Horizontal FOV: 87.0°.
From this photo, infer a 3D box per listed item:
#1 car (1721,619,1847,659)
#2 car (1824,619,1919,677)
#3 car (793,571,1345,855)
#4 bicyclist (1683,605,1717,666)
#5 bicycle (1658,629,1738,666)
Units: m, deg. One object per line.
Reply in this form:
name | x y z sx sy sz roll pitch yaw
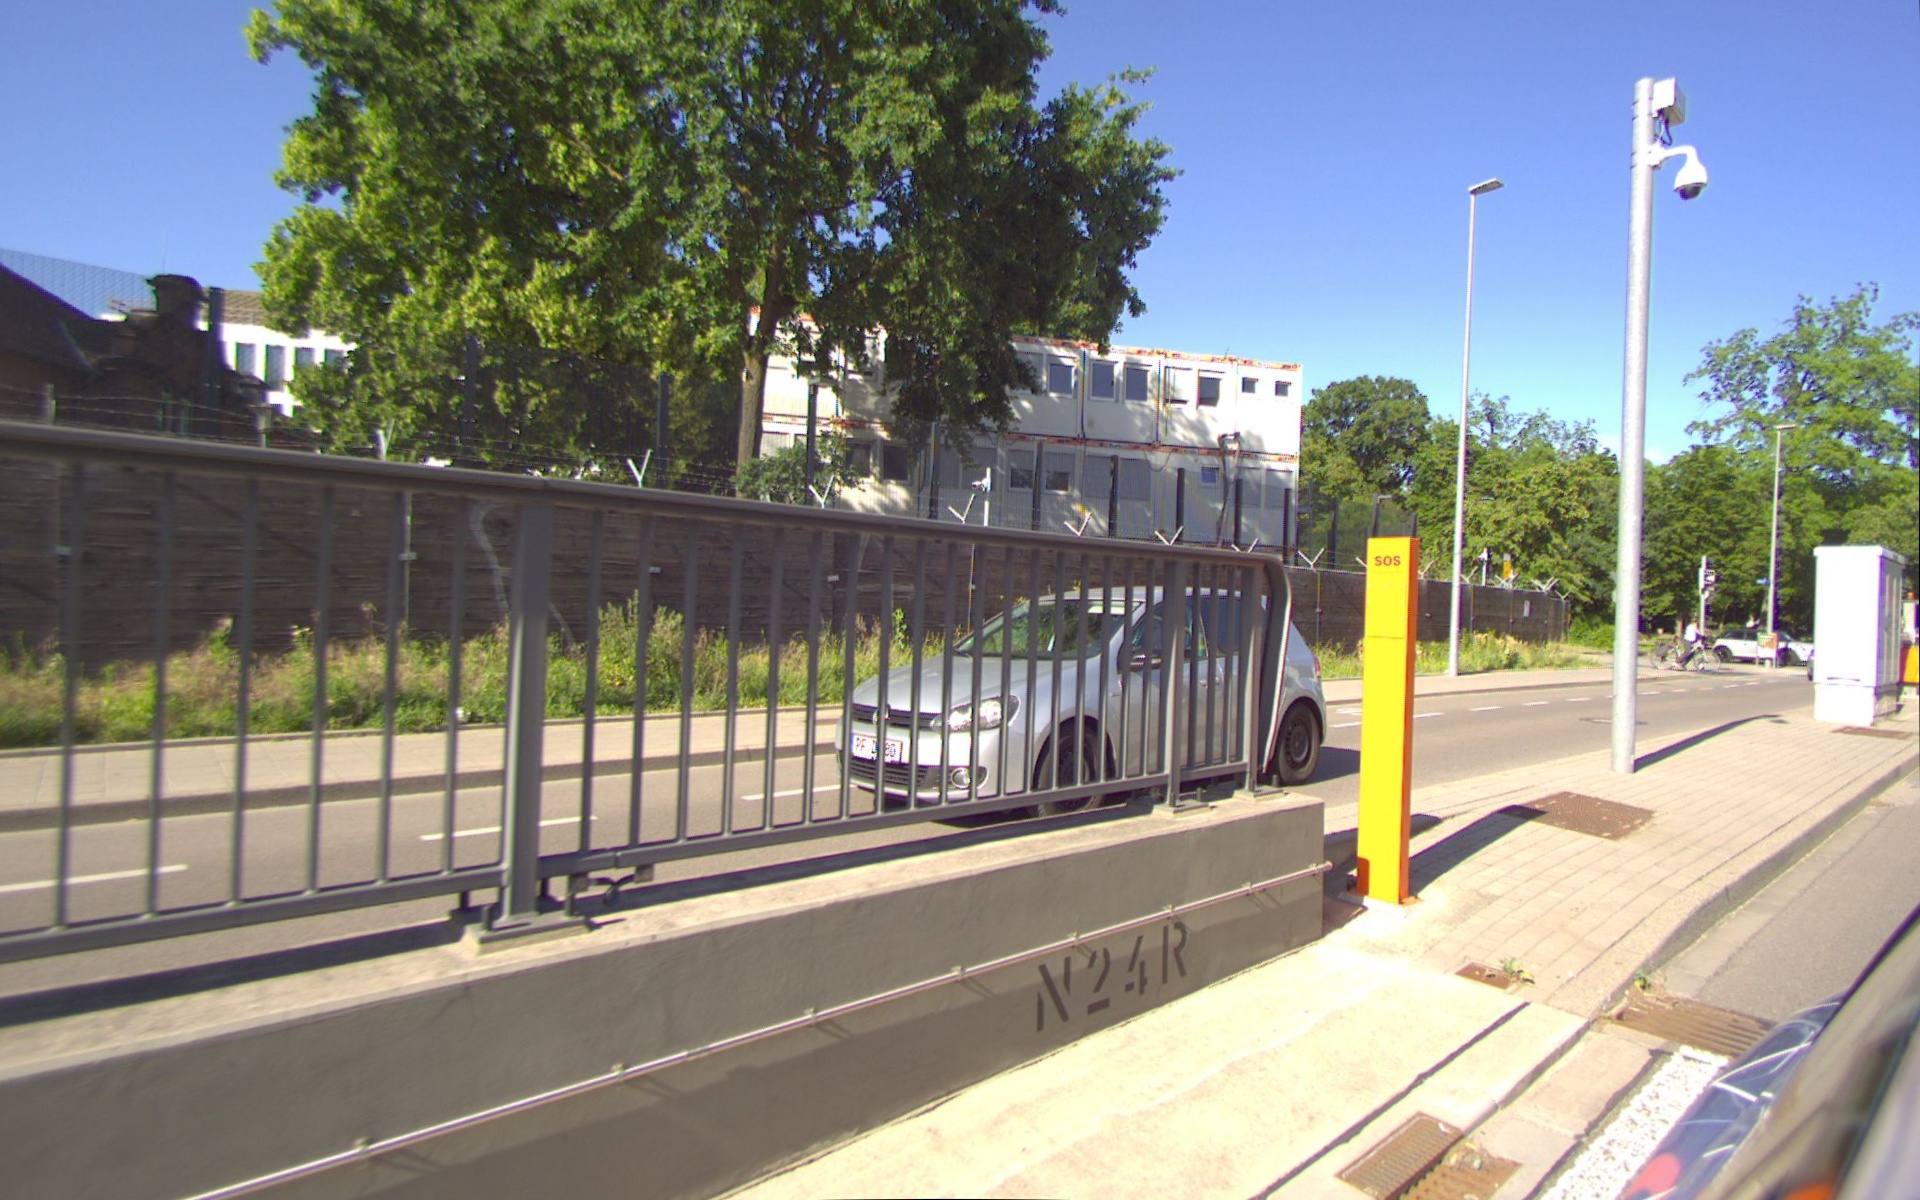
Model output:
car | 33.338 1.551 41.067 1.449 1.419 3.751 2 0 -19
car | 25.589 1.277 28.032 4.222 1.419 1.837 1 0 -40
car | 0.945 0.584 7.112 3.904 1.453 1.669 1 0 -41
bicyclist | 21.936 1.036 30.003 0.696 1.730 0.650 4 2 38
bicycle | 21.893 1.405 30.033 1.853 0.912 0.485 5 2 38
